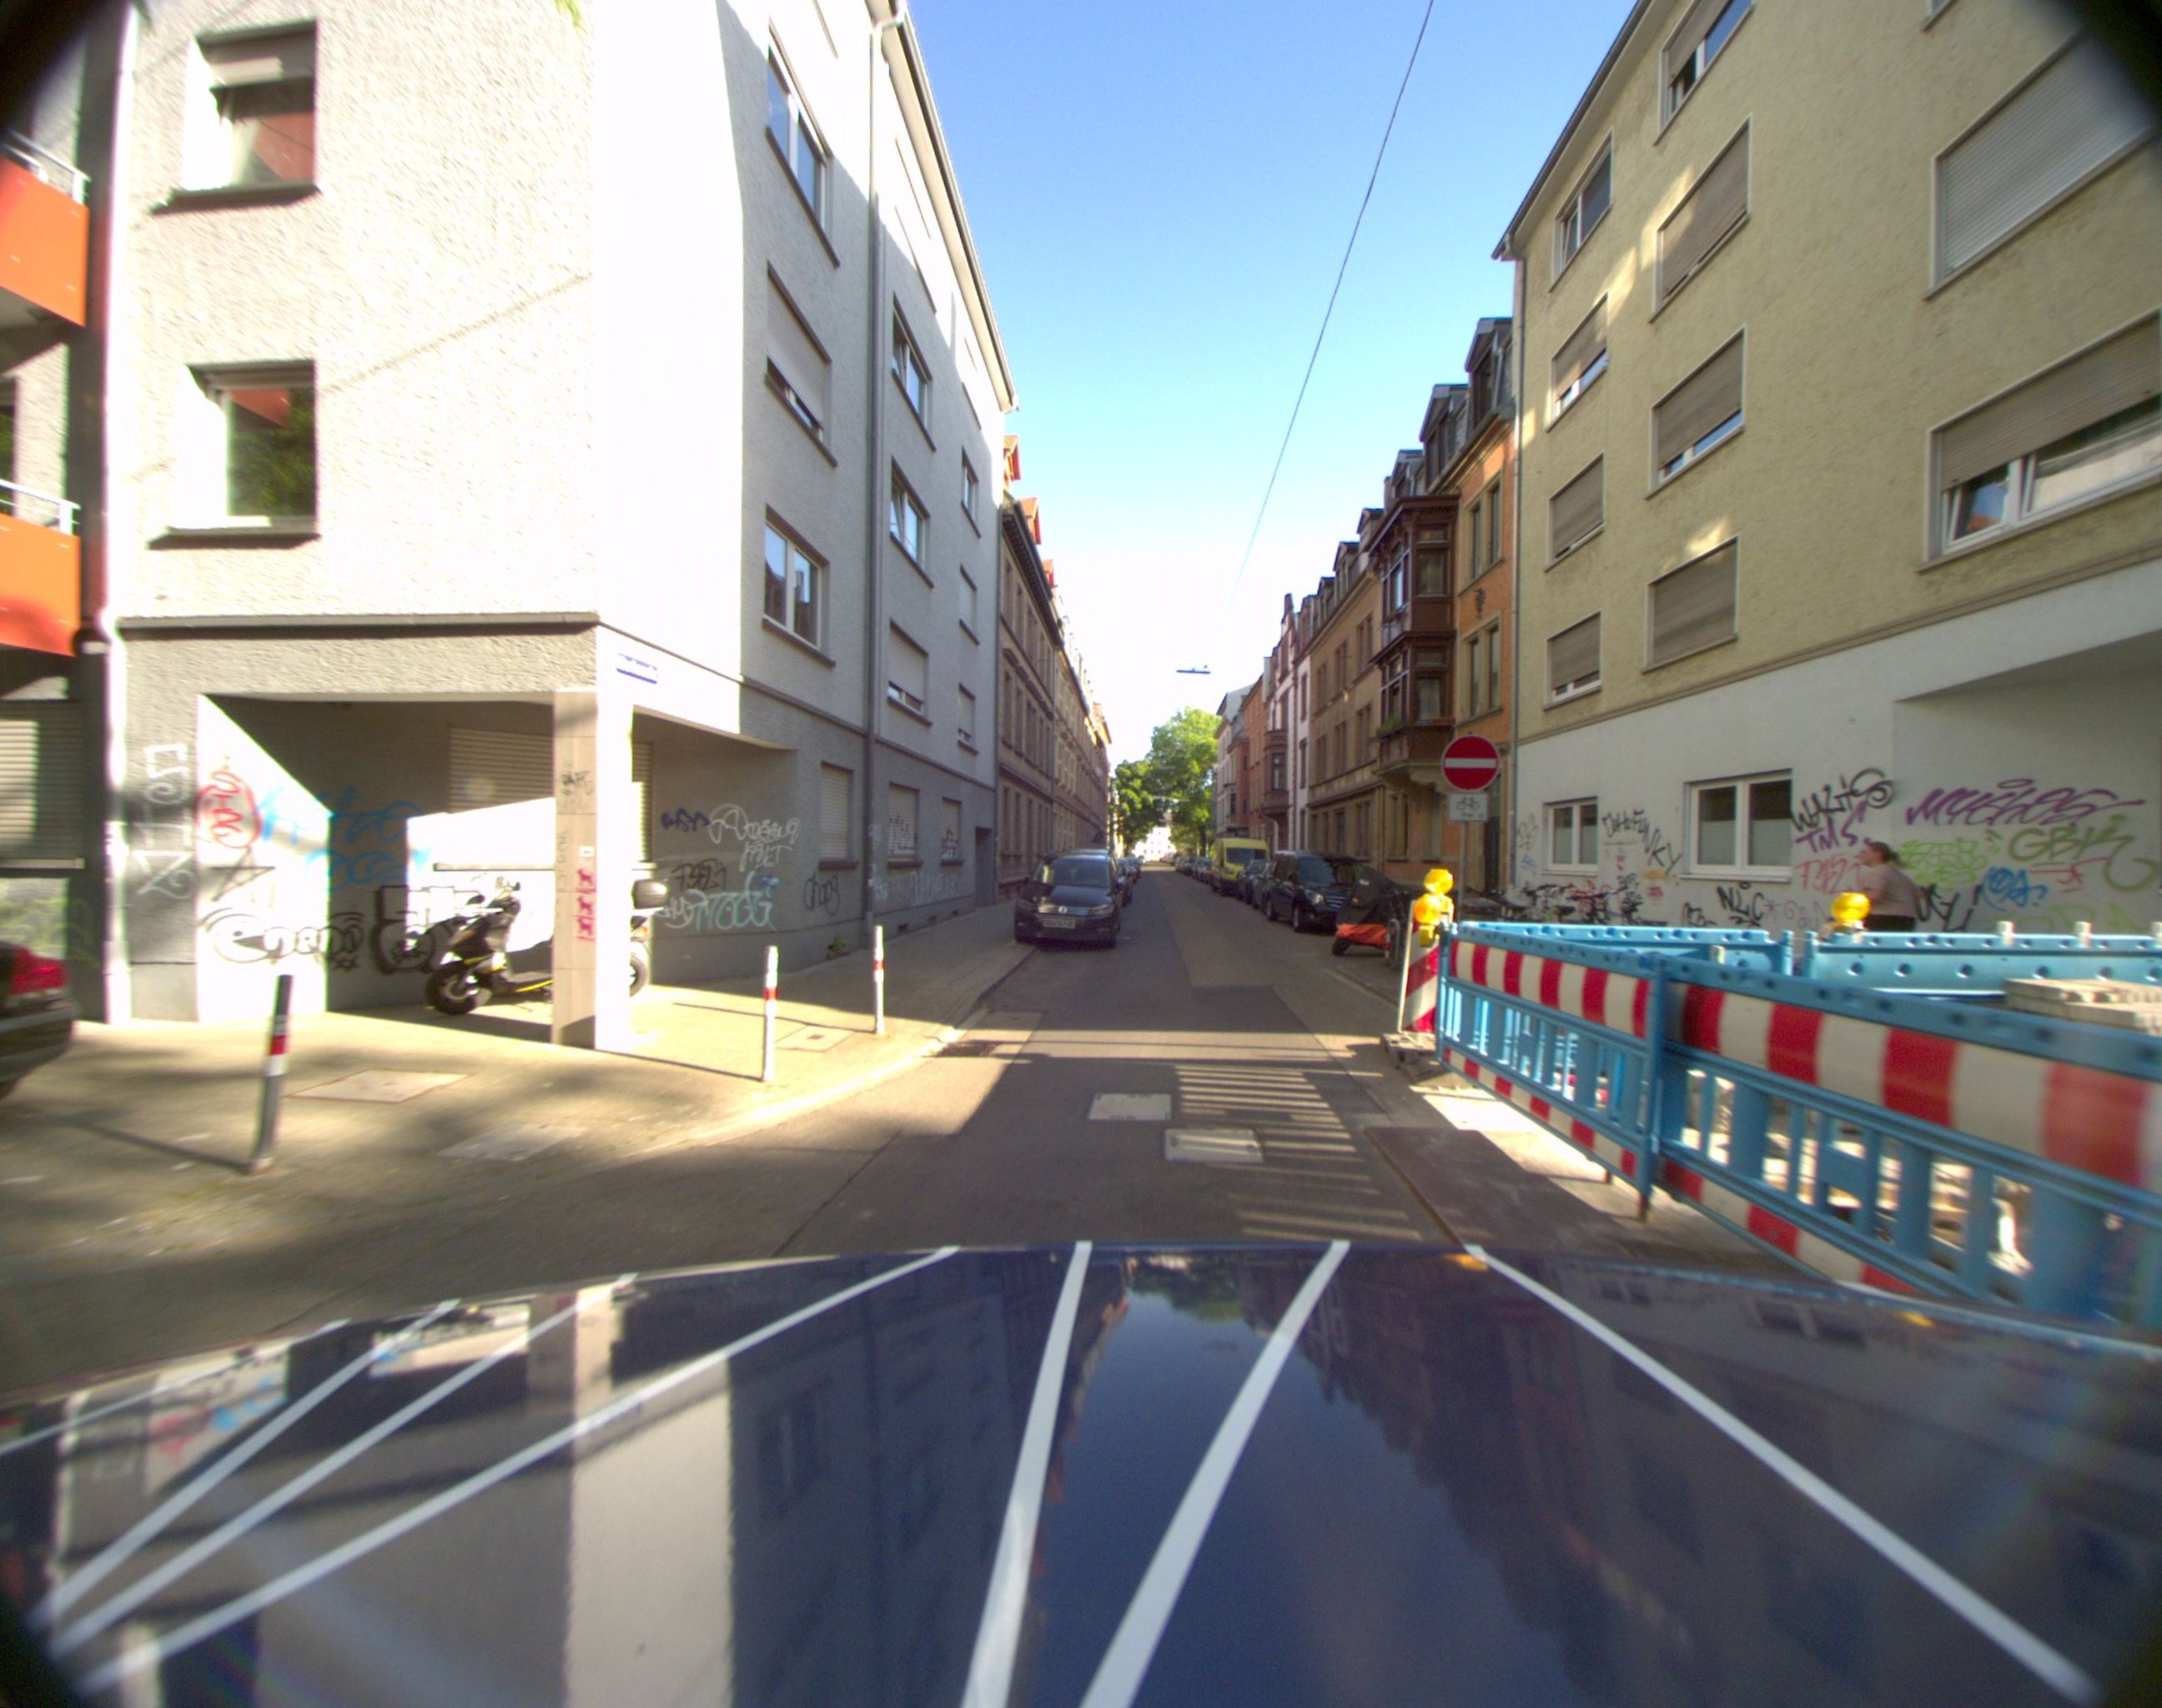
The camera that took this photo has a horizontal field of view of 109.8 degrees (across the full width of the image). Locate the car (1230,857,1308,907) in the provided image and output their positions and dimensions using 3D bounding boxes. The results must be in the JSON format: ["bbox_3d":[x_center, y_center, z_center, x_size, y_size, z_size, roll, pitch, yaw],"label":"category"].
[{"bbox_3d":[6.511,0.912,26.713,1.998,1.543,4.001,1,0,4],"label":"car"}]

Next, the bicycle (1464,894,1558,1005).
[{"bbox_3d":[5.316,1.133,9.482,0.364,1.220,1.554,1,-1,4],"label":"bicycle"}]

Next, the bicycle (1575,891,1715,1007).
[{"bbox_3d":[6.773,1.082,9.236,0.400,1.220,1.816,1,-1,2],"label":"bicycle"}]

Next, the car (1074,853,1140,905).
[{"bbox_3d":[0.957,0.765,25.468,1.757,1.444,4.290,5,0,7],"label":"car"}]

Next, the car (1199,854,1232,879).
[{"bbox_3d":[8.627,0.765,49.132,1.697,1.466,3.920,3,0,5],"label":"car"}]

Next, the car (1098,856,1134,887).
[{"bbox_3d":[1.958,0.903,41.545,1.724,1.472,4.084,5,1,4],"label":"car"}]

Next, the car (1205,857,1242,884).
[{"bbox_3d":[8.092,0.911,43.504,1.621,1.319,3.613,4,1,4],"label":"car"}]

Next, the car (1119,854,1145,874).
[{"bbox_3d":[3.806,0.734,56.075,1.781,1.388,4.319,1,0,6],"label":"car"}]

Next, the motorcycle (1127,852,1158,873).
[{"bbox_3d":[4.872,0.676,60.425,2.228,1.527,0.889,-2,0,-21],"label":"motorcycle"}]

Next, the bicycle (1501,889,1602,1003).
[{"bbox_3d":[5.678,1.055,9.265,0.295,1.220,1.700,1,-1,4],"label":"bicycle"}]

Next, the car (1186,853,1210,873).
[{"bbox_3d":[9.825,0.771,64.242,1.765,1.608,4.191,1,0,6],"label":"car"}]

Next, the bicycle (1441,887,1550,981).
[{"bbox_3d":[6.001,1.116,11.121,0.548,1.149,1.871,1,1,0],"label":"bicycle"}]

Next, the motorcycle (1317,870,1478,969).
[{"bbox_3d":[5.211,1.022,12.493,2.523,1.473,0.902,0,1,-22],"label":"motorcycle"}]

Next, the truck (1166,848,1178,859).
[{"bbox_3d":[21.082,-0.116,175.816,2.394,2.641,7.095,1,0,3],"label":"truck"}]

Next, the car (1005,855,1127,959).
[{"bbox_3d":[-0.125,0.870,14.759,1.904,1.630,4.392,1,1,5],"label":"car"}]

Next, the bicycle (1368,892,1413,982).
[{"bbox_3d":[4.453,1.157,10.991,0.376,1.149,1.292,1,1,13],"label":"bicycle"}]

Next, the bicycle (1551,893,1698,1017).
[{"bbox_3d":[6.286,1.103,8.925,0.400,1.220,2.031,1,-1,4],"label":"bicycle"}]

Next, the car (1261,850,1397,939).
[{"bbox_3d":[5.460,0.796,17.357,1.823,1.756,4.336,1,0,2],"label":"car"}]

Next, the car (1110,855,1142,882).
[{"bbox_3d":[2.740,0.861,46.470,1.757,1.437,4.070,4,1,3],"label":"car"}]

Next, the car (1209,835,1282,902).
[{"bbox_3d":[6.911,0.547,32.531,2.180,2.493,5.880,3,1,5],"label":"car"}]

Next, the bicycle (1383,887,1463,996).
[{"bbox_3d":[4.263,1.046,9.548,0.400,1.220,1.506,1,-1,4],"label":"bicycle"}]

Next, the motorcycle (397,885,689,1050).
[{"bbox_3d":[-5.011,0.984,7.244,2.161,1.221,0.741,-1,4,-37],"label":"motorcycle"}]

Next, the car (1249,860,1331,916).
[{"bbox_3d":[5.994,0.916,22.156,1.680,1.441,3.646,0,0,5],"label":"car"}]

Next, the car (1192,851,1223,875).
[{"bbox_3d":[9.004,0.629,54.344,1.785,1.596,4.070,1,0,4],"label":"car"}]

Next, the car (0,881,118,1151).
[{"bbox_3d":[-7.853,0.840,3.638,4.357,1.380,1.850,1,1,4],"label":"car"}]

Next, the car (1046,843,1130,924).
[{"bbox_3d":[0.318,0.687,19.936,1.757,1.776,4.725,3,0,5],"label":"car"}]

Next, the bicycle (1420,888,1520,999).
[{"bbox_3d":[4.865,1.066,9.625,0.400,1.220,1.875,1,-1,4],"label":"bicycle"}]

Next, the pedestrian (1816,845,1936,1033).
[{"bbox_3d":[7.618,0.785,7.304,0.525,1.730,0.558,1,1,1],"label":"pedestrian"}]
